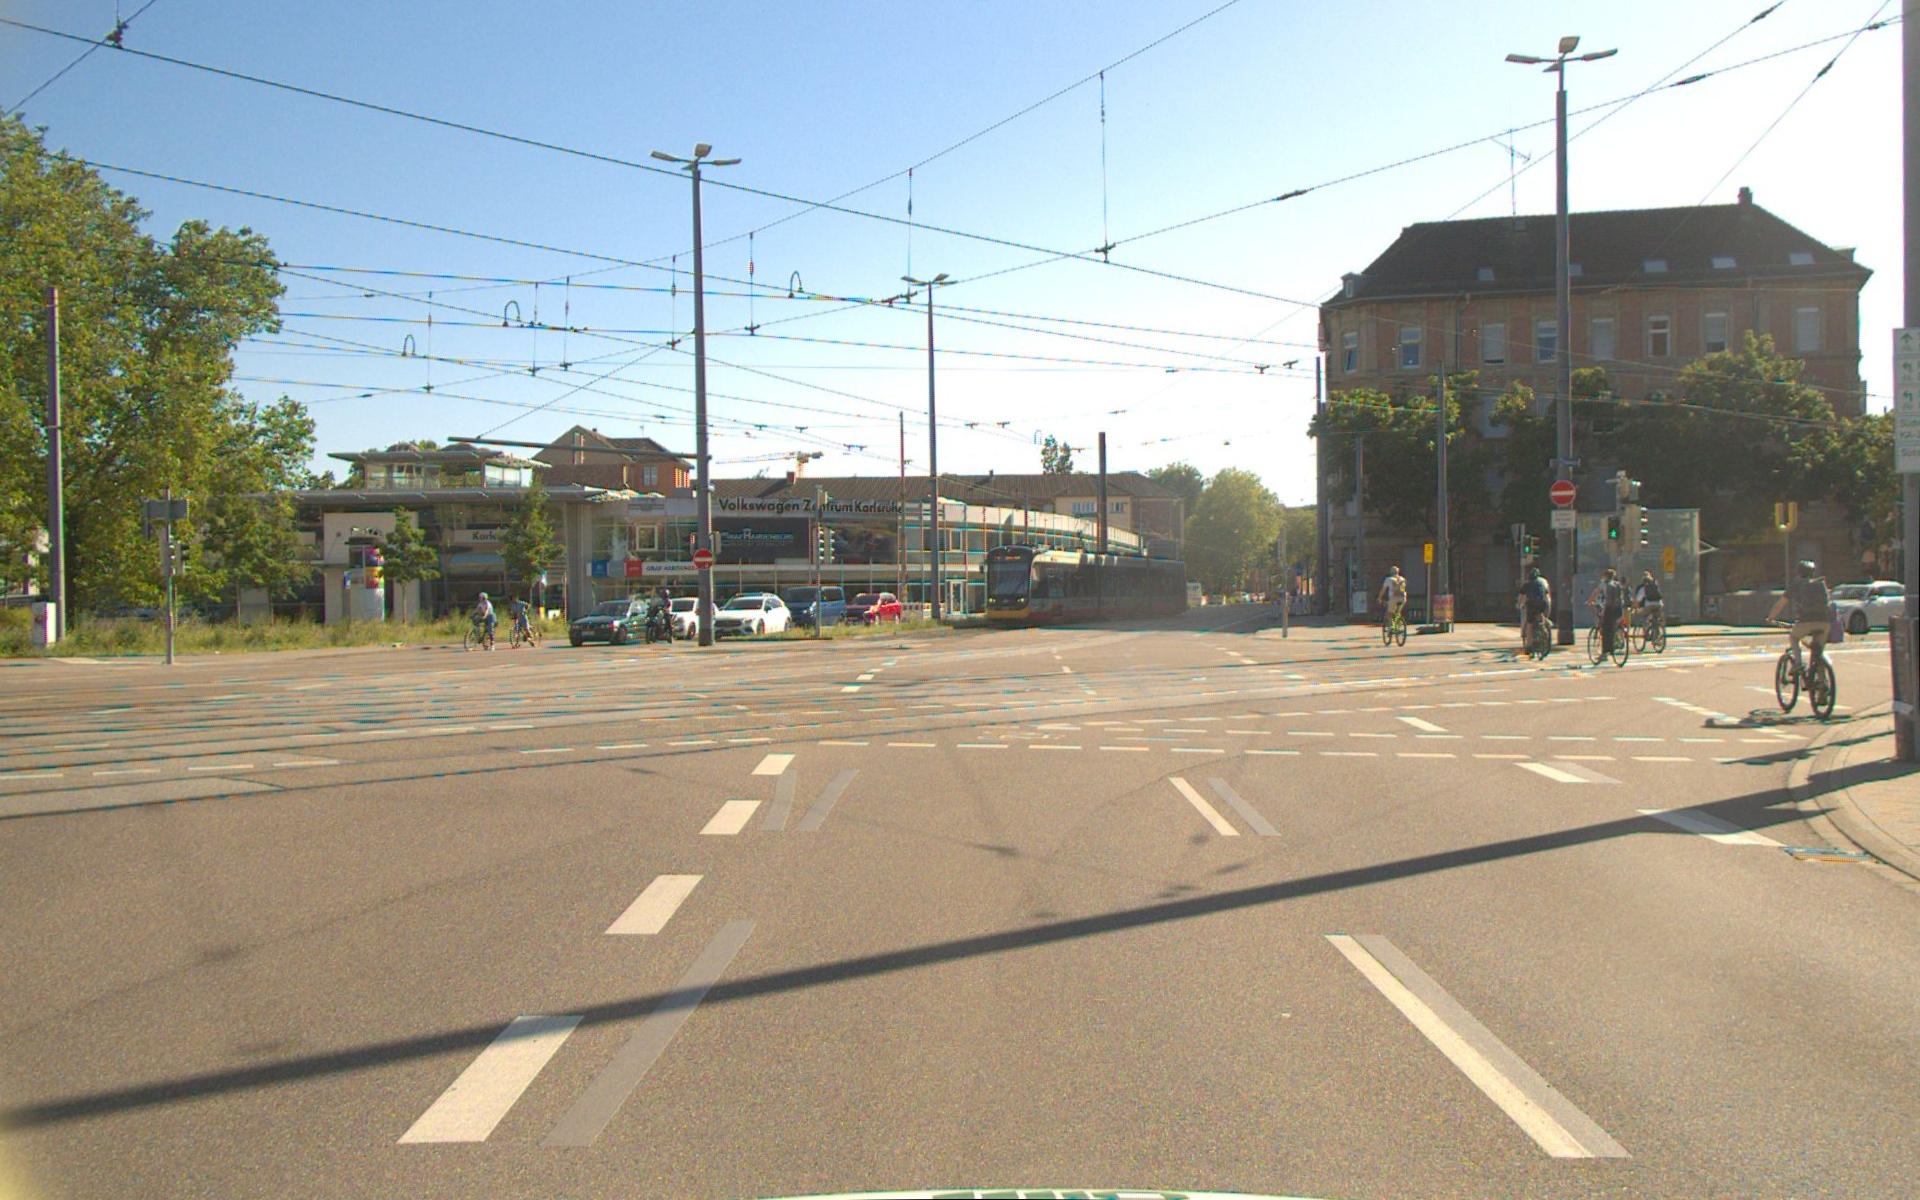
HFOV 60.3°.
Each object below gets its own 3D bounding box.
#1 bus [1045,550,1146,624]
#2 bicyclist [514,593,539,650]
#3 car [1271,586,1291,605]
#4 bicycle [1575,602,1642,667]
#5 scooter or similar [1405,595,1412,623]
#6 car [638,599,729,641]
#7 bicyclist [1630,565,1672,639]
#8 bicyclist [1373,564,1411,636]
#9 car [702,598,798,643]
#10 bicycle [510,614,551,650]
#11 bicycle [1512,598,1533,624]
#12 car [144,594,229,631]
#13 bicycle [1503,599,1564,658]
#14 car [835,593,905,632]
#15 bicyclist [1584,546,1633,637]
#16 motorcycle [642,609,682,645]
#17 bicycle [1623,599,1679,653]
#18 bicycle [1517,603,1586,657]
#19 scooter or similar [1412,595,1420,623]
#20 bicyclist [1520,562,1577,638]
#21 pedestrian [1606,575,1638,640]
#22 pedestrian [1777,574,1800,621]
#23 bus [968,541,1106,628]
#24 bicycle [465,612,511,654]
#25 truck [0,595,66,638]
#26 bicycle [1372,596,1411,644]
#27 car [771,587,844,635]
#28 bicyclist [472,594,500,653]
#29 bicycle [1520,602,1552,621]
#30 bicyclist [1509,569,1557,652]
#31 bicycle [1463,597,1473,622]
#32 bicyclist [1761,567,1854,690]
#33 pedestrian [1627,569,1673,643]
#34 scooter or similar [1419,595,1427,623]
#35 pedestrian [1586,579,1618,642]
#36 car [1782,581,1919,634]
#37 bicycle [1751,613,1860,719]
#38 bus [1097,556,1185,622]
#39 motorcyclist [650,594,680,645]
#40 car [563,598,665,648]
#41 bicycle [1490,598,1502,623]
[{"bbox_3d":[7.284,-0.650,87.203,2.781,3.652,10.730,0,0,18],"label":"bus"},{"bbox_3d":[-13.756,0.679,52.505,0.562,1.773,0.602,1,2,14],"label":"bicyclist"},{"bbox_3d":[35.540,-0.494,183.265,1.951,2.049,4.003,1,0,14],"label":"car"},{"bbox_3d":[11.827,0.617,30.205,0.520,1.137,1.934,1,0,2],"label":"bicycle"},{"bbox_3d":[19.646,0.402,72.479,0.264,1.206,1.566,1,0,14],"label":"scooter or similar"},{"bbox_3d":[-9.885,0.707,59.358,1.764,1.457,4.003,1,0,14],"label":"car"},{"bbox_3d":[15.574,0.054,37.313,0.585,1.641,0.953,1,0,4],"label":"bicyclist"},{"bbox_3d":[10.506,0.002,40.265,0.666,1.713,1.120,1,0,3],"label":"bicyclist"},{"bbox_3d":[-7.256,0.708,57.549,1.764,1.457,4.544,1,0,14],"label":"car"},{"bbox_3d":[-13.697,1.005,52.738,0.526,1.092,1.656,-1,1,13],"label":"bicycle"},{"bbox_3d":[24.335,0.477,71.573,0.395,1.080,1.351,1,0,-2],"label":"bicycle"},{"bbox_3d":[-44.175,0.720,94.487,3.911,2.049,1.997,1,0,-7],"label":"car"},{"bbox_3d":[11.556,0.575,33.364,0.521,1.137,1.933,-1,-1,-1],"label":"bicycle"},{"bbox_3d":[-4.245,0.600,78.752,1.761,1.749,4.418,-2,-1,18],"label":"car"},{"bbox_3d":[11.843,-0.150,30.229,0.538,1.641,0.953,1,0,3],"label":"bicyclist"},{"bbox_3d":[-9.452,0.845,52.523,0.507,1.065,1.748,-2,0,15],"label":"motorcycle"},{"bbox_3d":[15.586,0.570,37.326,0.520,1.137,1.935,1,2,3],"label":"bicycle"},{"bbox_3d":[12.713,0.625,35.604,0.379,1.087,1.926,-1,1,-14],"label":"bicycle"},{"bbox_3d":[19.950,0.407,72.416,0.264,1.206,1.566,1,0,14],"label":"scooter or similar"},{"bbox_3d":[12.699,-0.005,35.709,0.769,1.621,0.882,-1,0,-16],"label":"bicyclist"},{"bbox_3d":[18.427,0.219,46.051,0.645,1.788,0.824,1,-1,9],"label":"pedestrian"},{"bbox_3d":[33.327,-0.107,66.534,0.641,1.881,0.542,1,-1,-29],"label":"pedestrian"},{"bbox_3d":[3.820,-0.665,76.844,2.781,3.652,13.500,0,0,19],"label":"bus"},{"bbox_3d":[-14.565,1.004,51.069,0.526,1.204,1.755,-1,1,13],"label":"bicycle"},{"bbox_3d":[-51.182,0.887,89.849,4.117,2.260,2.000,1,0,-1],"label":"truck"},{"bbox_3d":[10.495,0.486,40.257,0.520,1.137,1.934,1,-1,3],"label":"bicycle"},{"bbox_3d":[-6.560,0.478,71.582,1.764,1.967,4.168,-2,-1,15],"label":"car"},{"bbox_3d":[-14.572,0.725,50.888,0.562,1.773,0.678,1,1,14],"label":"bicyclist"},{"bbox_3d":[26.986,0.542,77.527,1.388,0.871,0.404,1,-1,21],"label":"bicycle"},{"bbox_3d":[11.581,0.216,33.447,0.610,1.641,0.981,1,0,1],"label":"bicyclist"},{"bbox_3d":[22.143,0.427,72.063,0.395,1.080,1.483,1,0,18],"label":"bicycle"},{"bbox_3d":[10.346,0.342,20.215,0.659,1.446,1.037,1,0,5],"label":"bicyclist"},{"bbox_3d":[18.541,0.159,44.455,0.910,1.963,1.049,1,-1,9],"label":"pedestrian"},{"bbox_3d":[20.263,0.395,72.332,0.264,1.217,1.566,1,0,14],"label":"scooter or similar"},{"bbox_3d":[17.611,0.283,45.367,0.645,1.706,0.824,1,-1,9],"label":"pedestrian"},{"bbox_3d":[28.761,0.249,53.295,4.184,1.649,1.903,0,-2,-25],"label":"car"},{"bbox_3d":[10.348,0.780,20.297,0.520,1.179,1.867,1,1,5],"label":"bicycle"},{"bbox_3d":[10.795,-0.641,97.637,2.781,3.652,11.275,0,0,19],"label":"bus"},{"bbox_3d":[-9.388,0.610,52.691,0.573,1.607,0.944,-2,-1,15],"label":"motorcyclist"},{"bbox_3d":[-11.054,0.723,53.133,1.614,1.505,3.974,-2,-1,14],"label":"car"},{"bbox_3d":[23.293,0.453,71.866,0.394,1.080,1.353,1,0,14],"label":"bicycle"}]
